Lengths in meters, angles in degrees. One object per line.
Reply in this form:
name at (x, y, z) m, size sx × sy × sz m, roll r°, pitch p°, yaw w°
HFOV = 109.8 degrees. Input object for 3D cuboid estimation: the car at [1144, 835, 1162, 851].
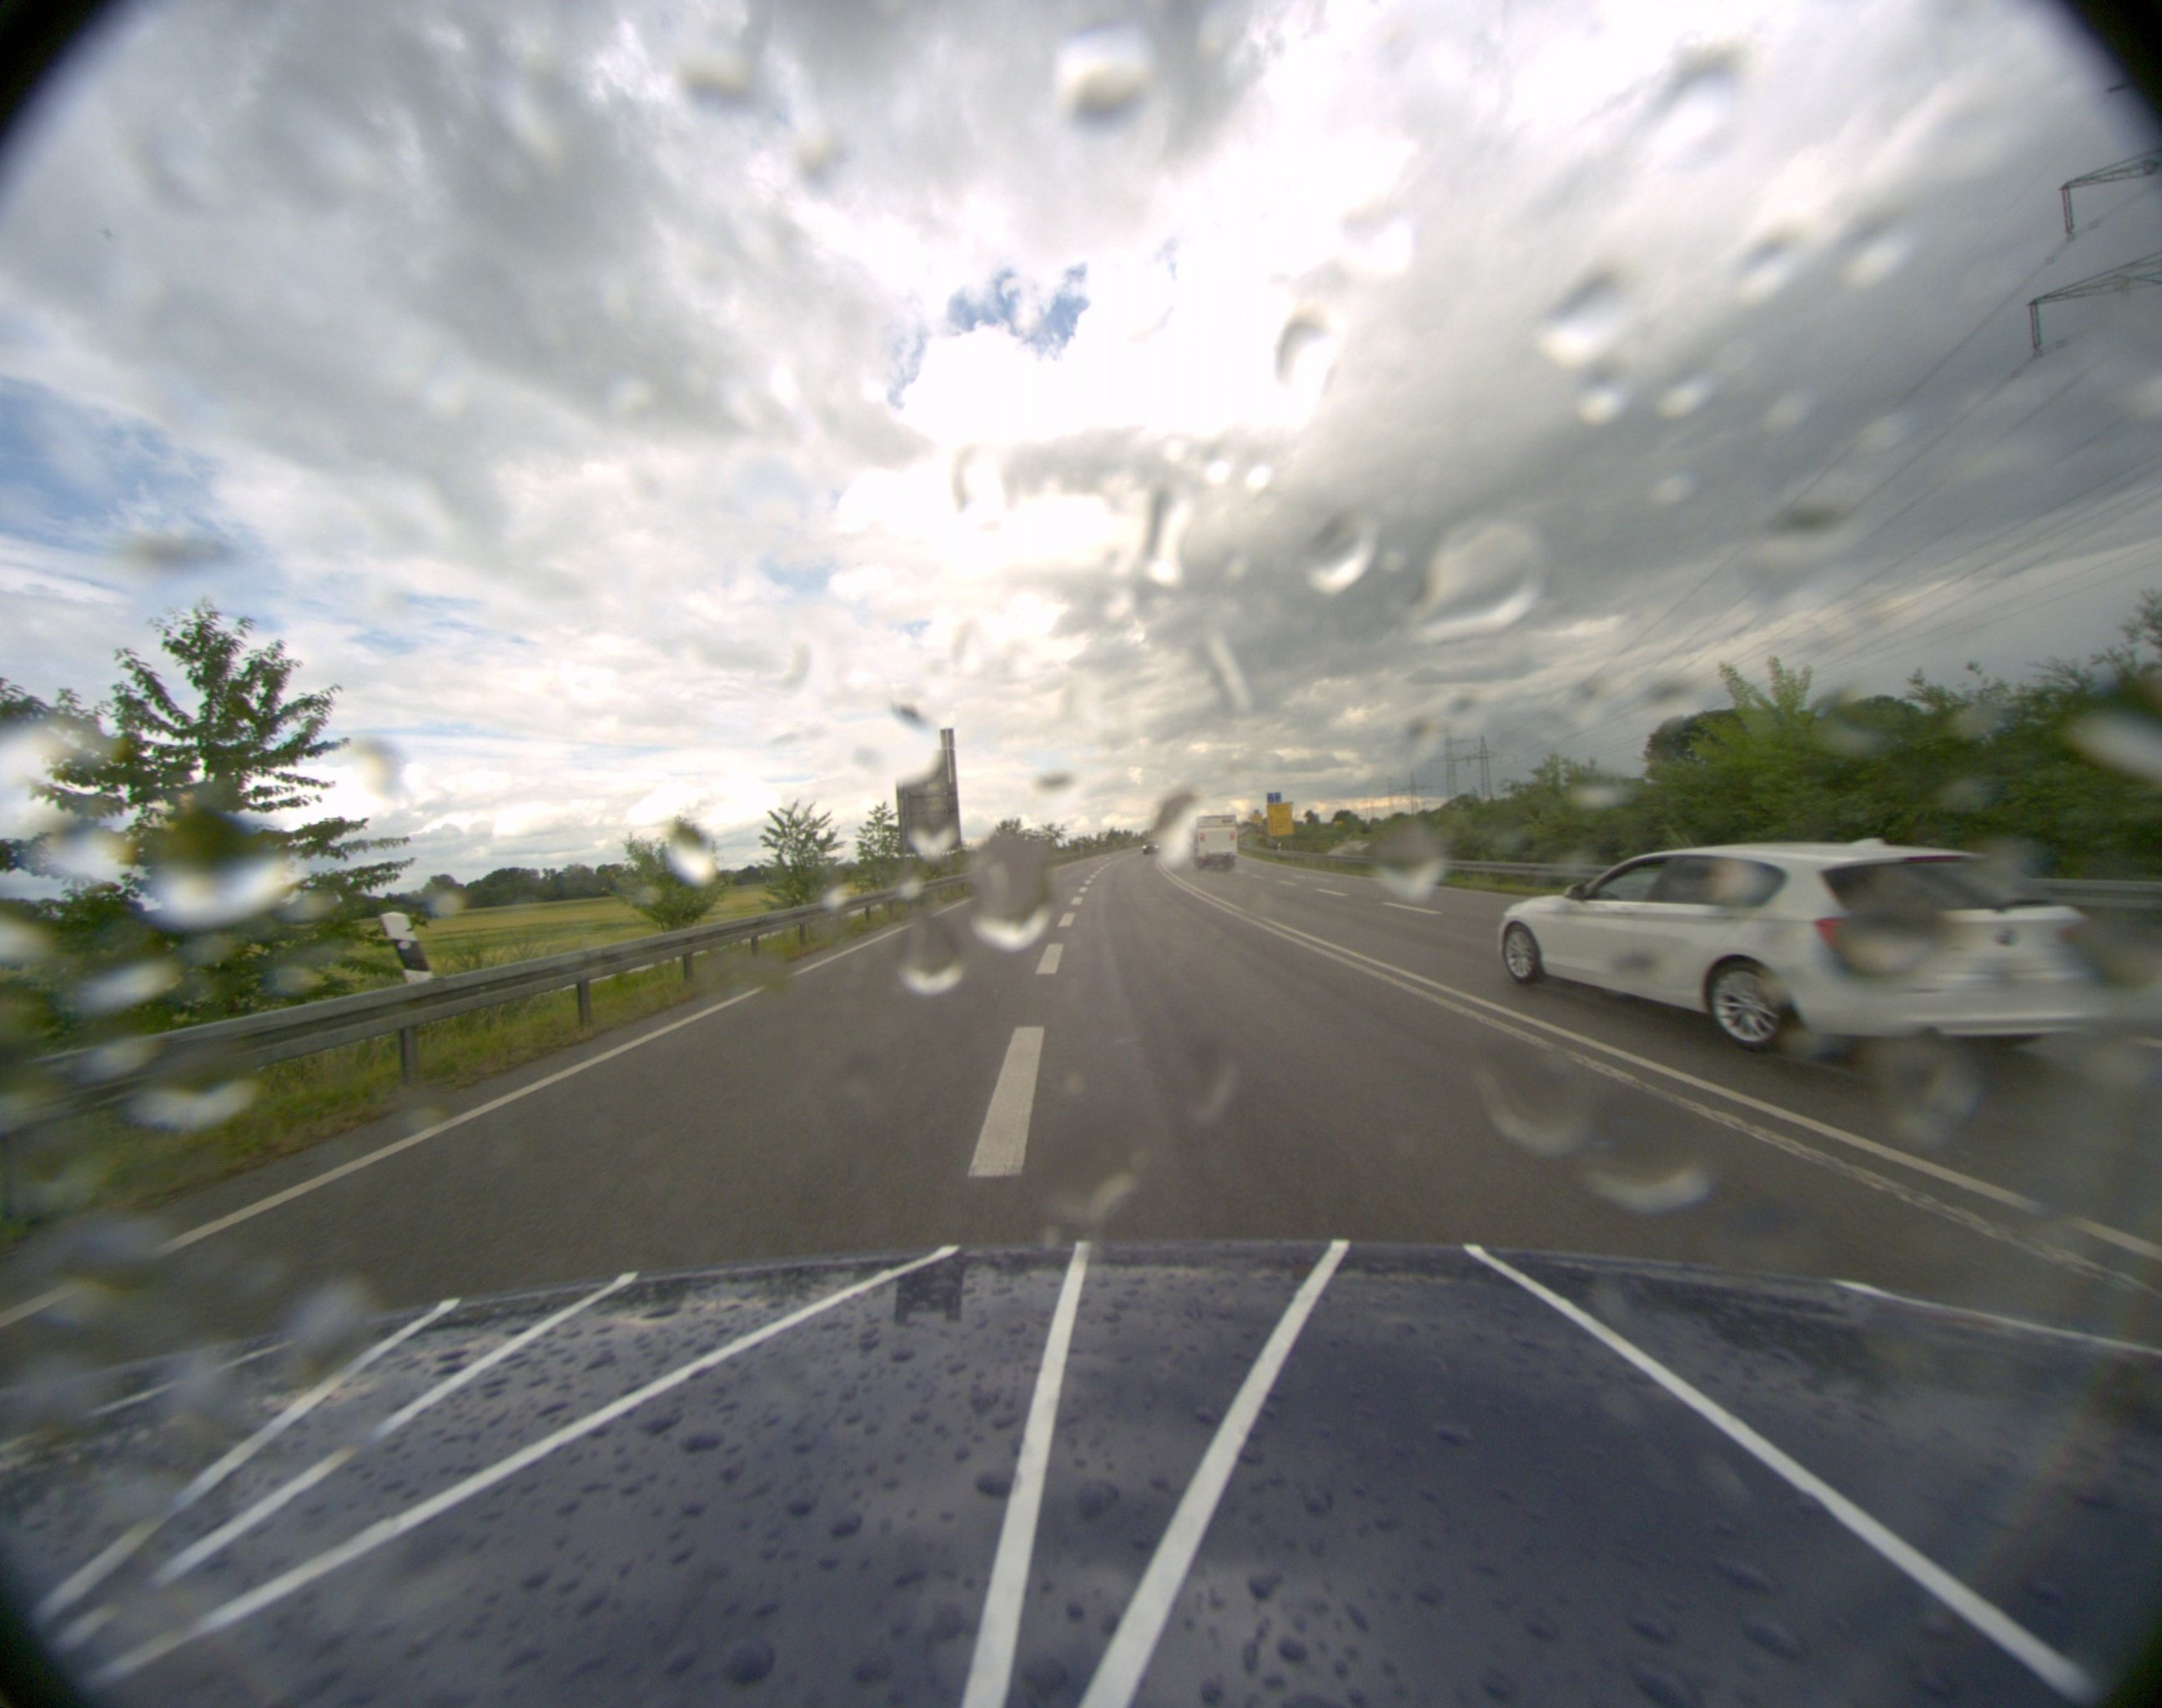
car at (8.638, -1.346, 90.850) m, size 1.795 × 1.758 × 4.003 m, roll -4°, pitch 0°, yaw 10°

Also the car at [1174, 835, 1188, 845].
car at (17.278, -2.435, 131.589) m, size 1.747 × 1.488 × 4.054 m, roll -4°, pitch 0°, yaw 15°

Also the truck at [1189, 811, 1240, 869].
truck at (7.762, -0.837, 44.845) m, size 2.261 × 3.138 × 6.690 m, roll -1°, pitch 1°, yaw 4°

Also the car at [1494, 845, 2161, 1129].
car at (5.288, 0.694, 6.118) m, size 1.684 × 1.449 × 4.074 m, roll -3°, pitch 1°, yaw 0°
